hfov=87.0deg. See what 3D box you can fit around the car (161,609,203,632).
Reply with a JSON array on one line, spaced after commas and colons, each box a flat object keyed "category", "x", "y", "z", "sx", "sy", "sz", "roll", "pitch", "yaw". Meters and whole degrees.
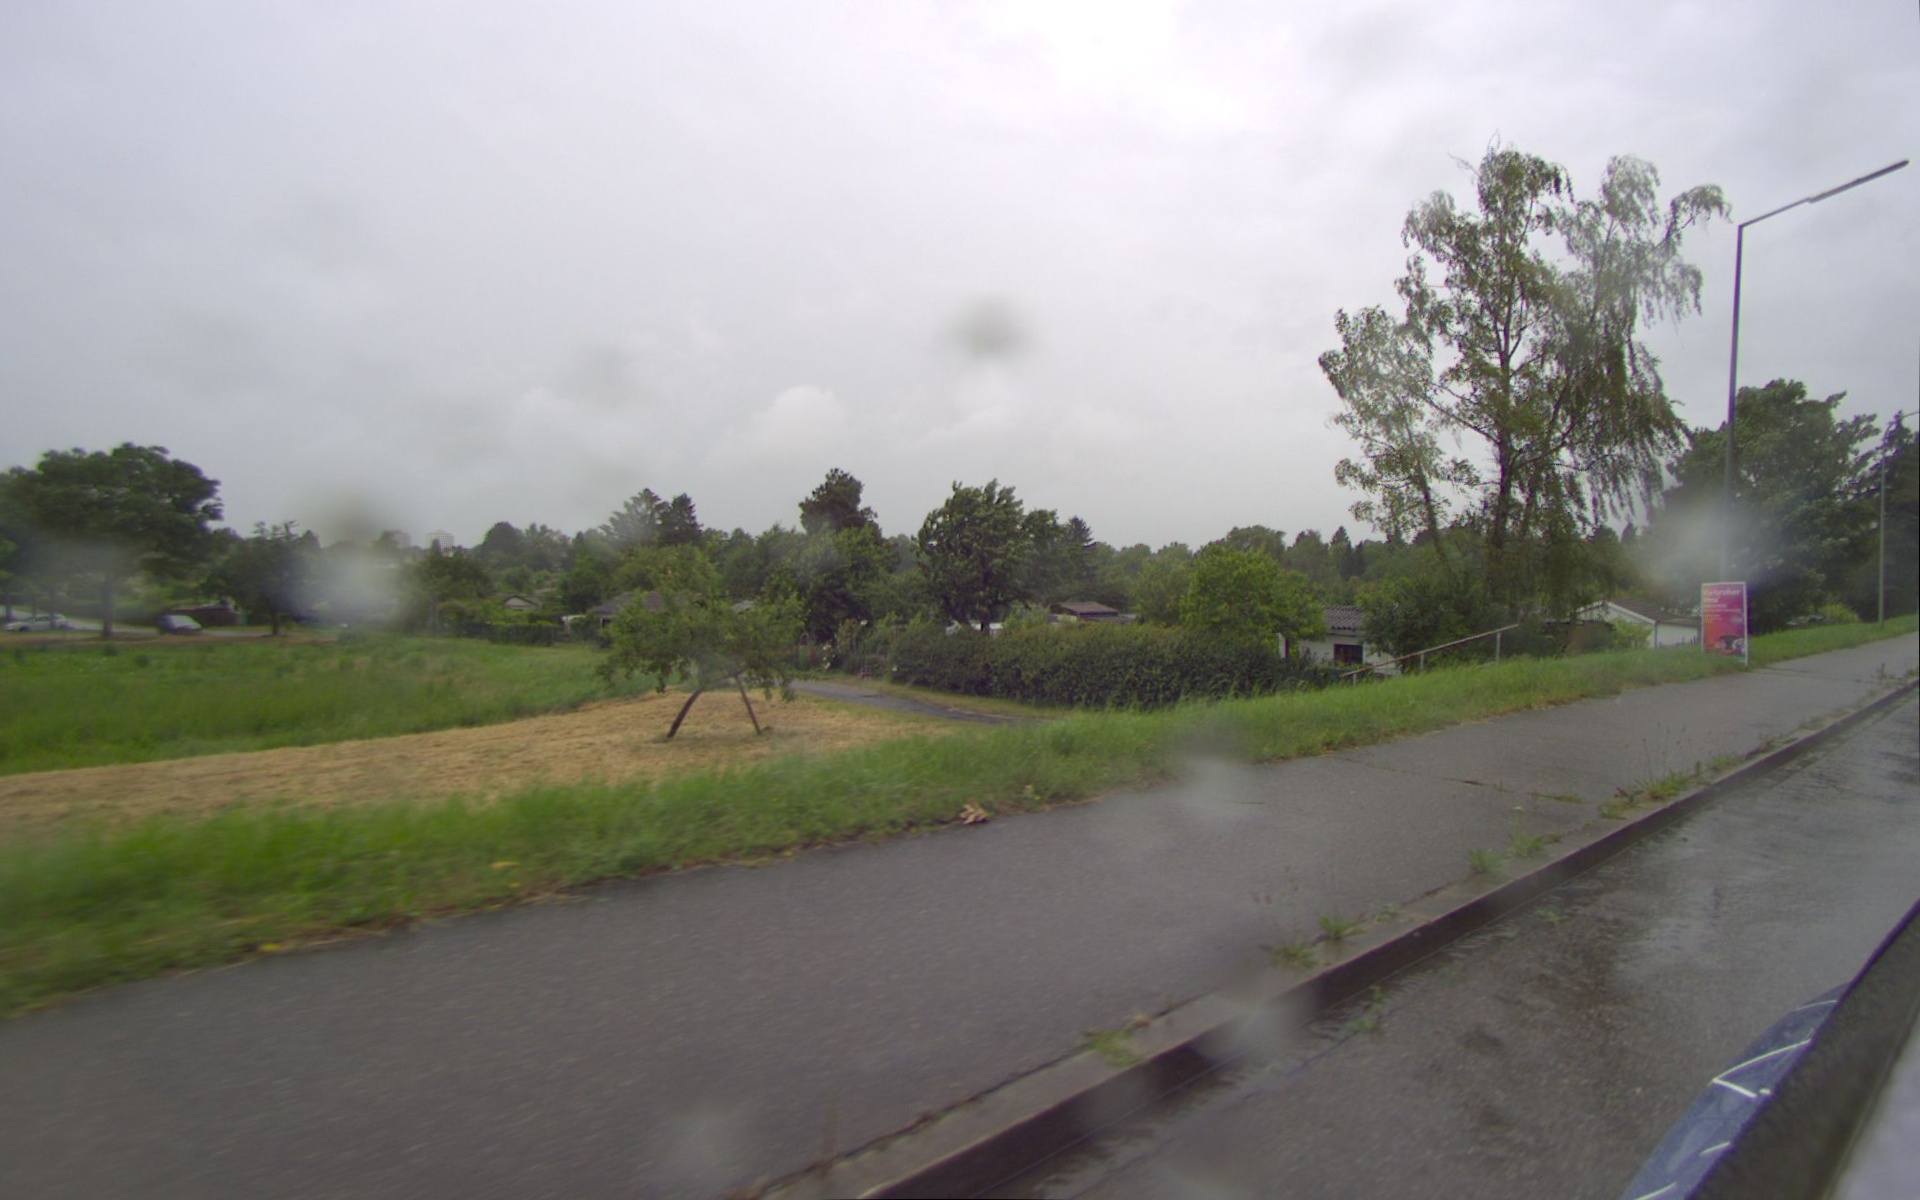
[{"category": "car", "x": -56.589, "y": 1.494, "z": 73.590, "sx": 3.985, "sy": 1.529, "sz": 1.773, "roll": 0, "pitch": 1, "yaw": 43}]
